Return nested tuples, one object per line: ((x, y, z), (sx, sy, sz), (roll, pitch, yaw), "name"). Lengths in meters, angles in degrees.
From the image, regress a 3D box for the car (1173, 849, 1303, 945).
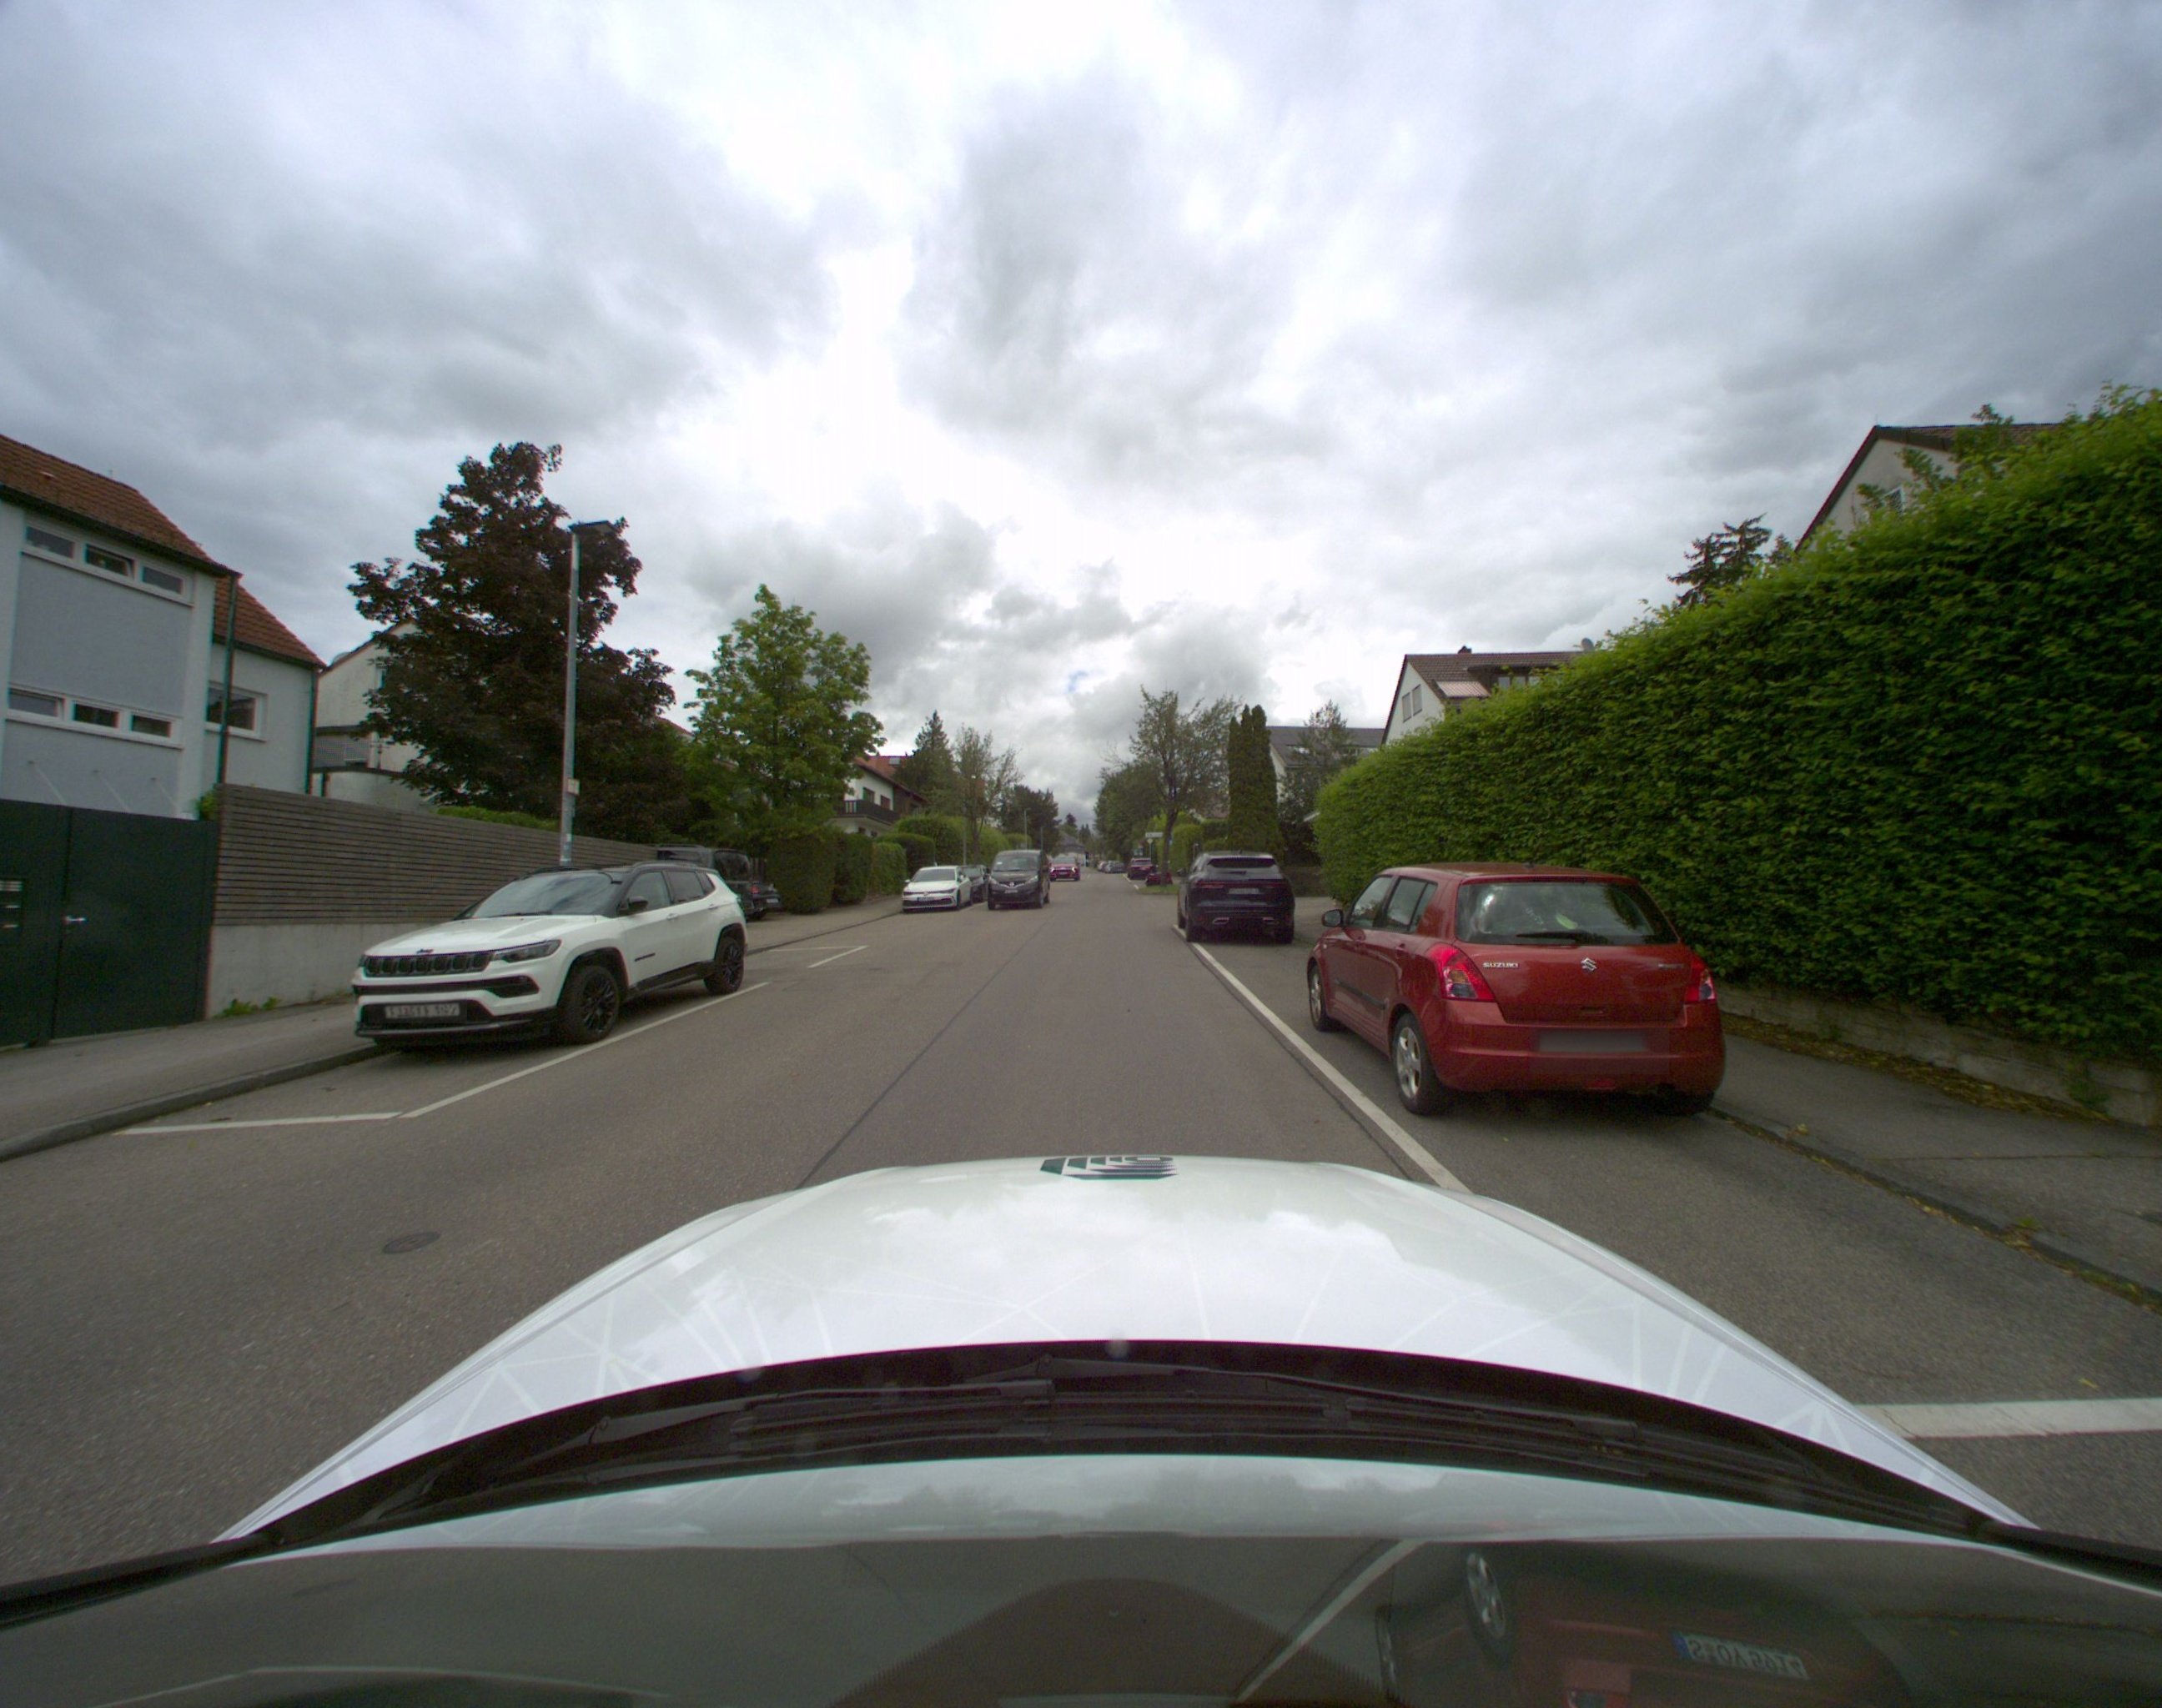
((2.926, 0.760, 16.103), (1.985, 1.618, 4.518), (1, -1, 4), "car")

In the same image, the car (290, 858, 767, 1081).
((-5.207, 0.927, 8.613), (1.830, 1.666, 4.411), (-3, -1, 2), "car")

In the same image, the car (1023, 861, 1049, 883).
((-3.458, 1.344, 62.711), (1.624, 1.523, 3.639), (-3, 0, 1), "car")

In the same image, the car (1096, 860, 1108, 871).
((3.419, 1.901, 133.222), (1.661, 1.668, 3.464), (-1, 0, -3), "car")

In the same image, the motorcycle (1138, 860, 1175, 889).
((3.786, 1.024, 40.797), (1.876, 1.346, 0.593), (-1, -1, -34), "motorcycle")

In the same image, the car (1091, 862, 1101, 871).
((2.726, 2.309, 148.540), (1.639, 1.668, 3.464), (-1, 0, -2), "car")

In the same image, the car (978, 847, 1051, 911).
((-2.073, 0.767, 26.624), (1.878, 1.851, 4.402), (-2, -1, 1), "car")

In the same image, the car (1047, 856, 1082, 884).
((-1.018, 1.011, 52.931), (1.934, 1.647, 4.259), (-3, -1, 2), "car")

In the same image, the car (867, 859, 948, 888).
((-9.540, 1.053, 44.886), (3.967, 1.533, 1.790), (1, 0, 5), "car")

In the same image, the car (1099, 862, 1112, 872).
((3.768, 2.006, 126.467), (1.661, 1.501, 3.464), (-1, 0, -3), "car")

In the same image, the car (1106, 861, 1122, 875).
((4.281, 1.825, 106.242), (1.709, 1.657, 3.619), (-1, 0, -2), "car")

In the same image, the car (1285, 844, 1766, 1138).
((2.799, 0.731, 6.154), (1.655, 1.508, 3.760), (-1, 0, 2), "car")

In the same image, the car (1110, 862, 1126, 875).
((4.637, 1.804, 101.792), (1.661, 1.501, 3.464), (-1, 0, -3), "car")

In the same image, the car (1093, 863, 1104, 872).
((2.941, 2.340, 141.061), (1.661, 1.501, 3.464), (-1, 0, -3), "car")

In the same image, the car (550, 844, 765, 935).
((-9.896, 0.834, 19.198), (4.048, 1.950, 2.005), (-2, -2, 9), "car")

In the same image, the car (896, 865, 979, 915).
((-4.660, 1.133, 27.078), (1.831, 1.422, 4.409), (-3, -1, 1), "car")

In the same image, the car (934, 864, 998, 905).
((-4.404, 1.146, 31.841), (1.720, 1.423, 4.081), (-3, -1, 2), "car")

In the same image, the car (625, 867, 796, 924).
((-10.096, 1.109, 22.284), (3.958, 1.445, 1.785), (-1, -1, 14), "car")

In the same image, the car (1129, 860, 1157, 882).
((4.423, 1.199, 58.411), (1.875, 1.533, 4.478), (0, 0, 3), "car")
